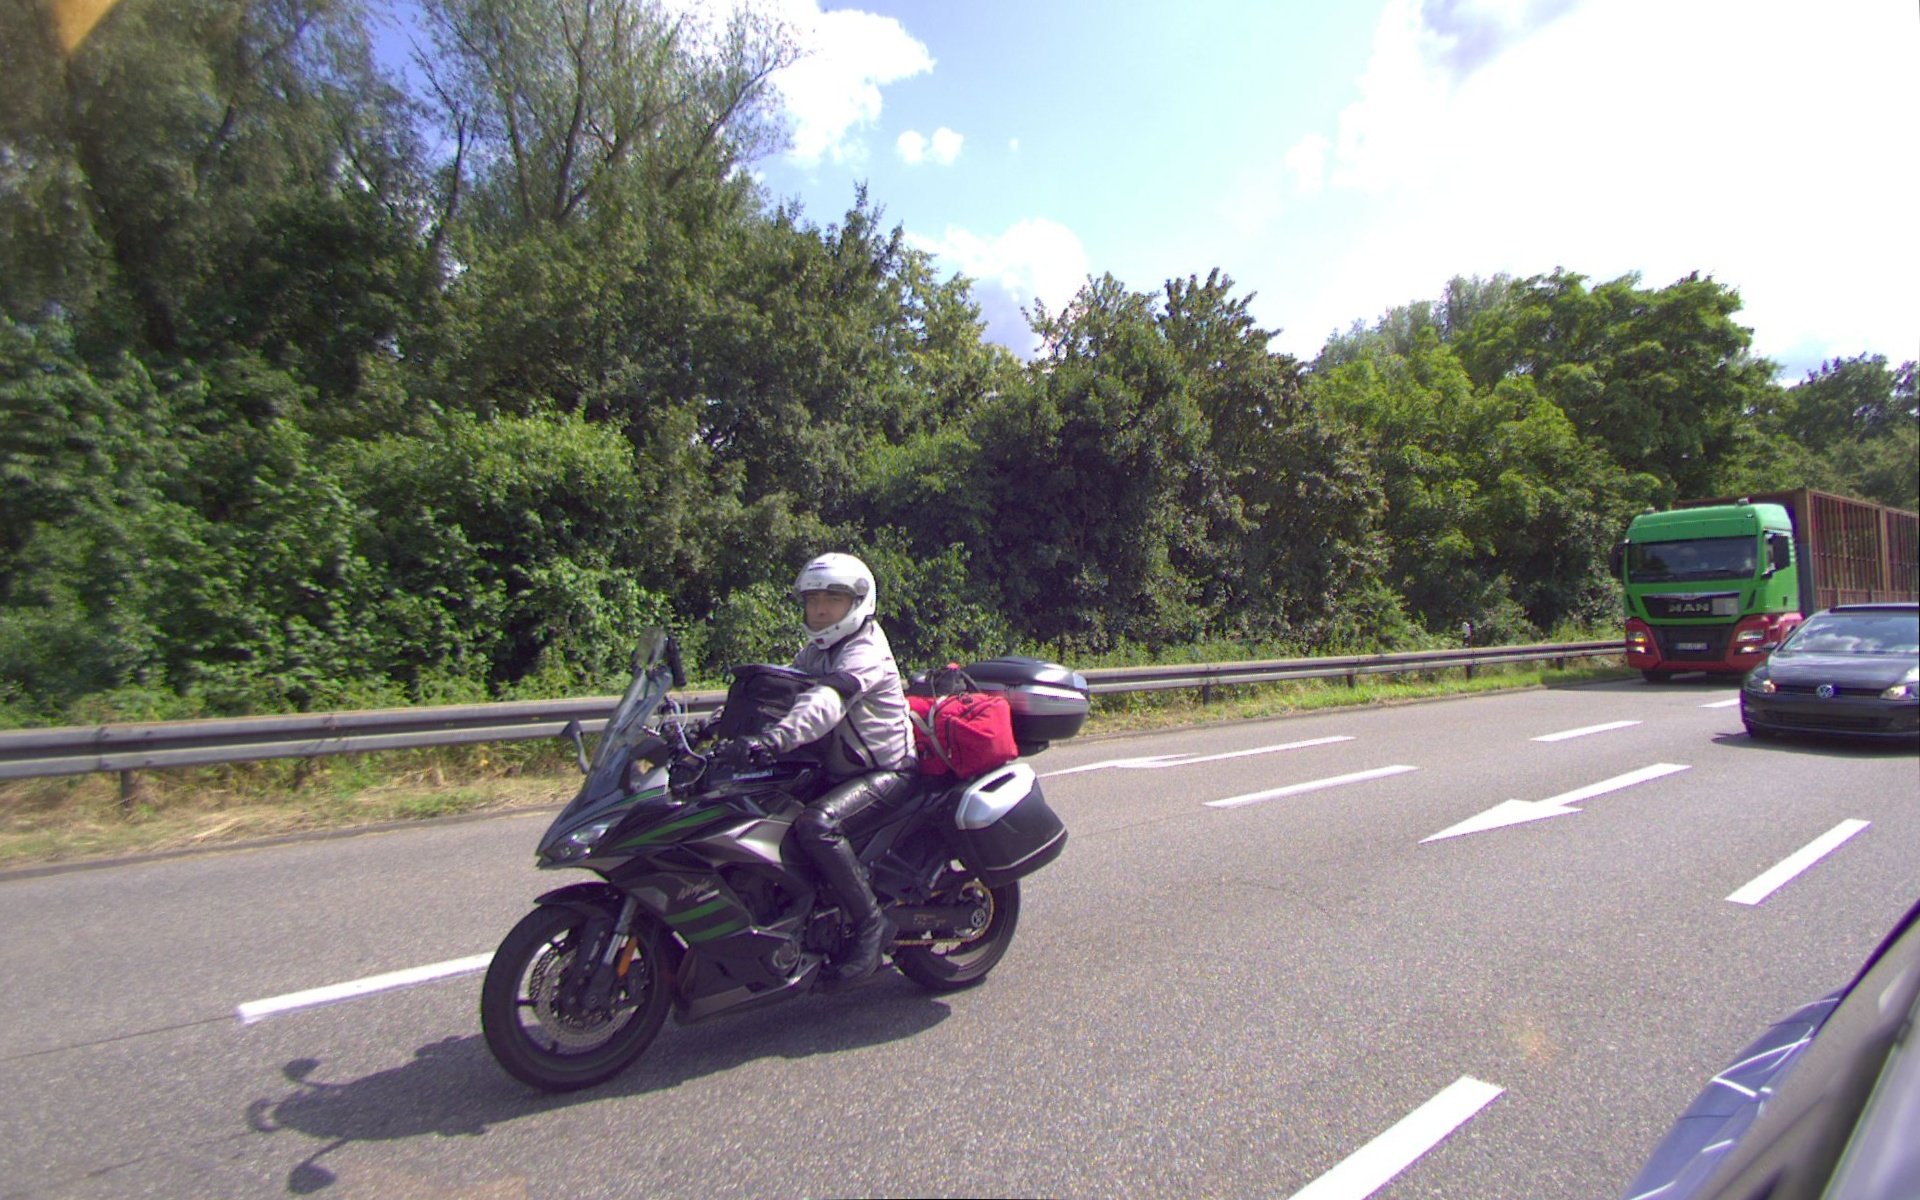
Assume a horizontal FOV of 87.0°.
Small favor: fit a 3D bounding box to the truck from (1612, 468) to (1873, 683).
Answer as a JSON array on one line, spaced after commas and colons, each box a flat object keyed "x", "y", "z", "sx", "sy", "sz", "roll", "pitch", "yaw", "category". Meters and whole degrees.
[{"x": 16.608, "y": -0.410, "z": 21.381, "sx": 5.946, "sy": 3.945, "sz": 2.592, "roll": 0, "pitch": -3, "yaw": -35, "category": "truck"}]

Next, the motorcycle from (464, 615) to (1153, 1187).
[{"x": -0.391, "y": 0.758, "z": 3.608, "sx": 2.328, "sy": 1.407, "sz": 0.867, "roll": 1, "pitch": -1, "yaw": -41, "category": "motorcycle"}]

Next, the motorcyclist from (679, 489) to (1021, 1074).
[{"x": -0.399, "y": 0.537, "z": 3.606, "sx": 0.879, "sy": 1.722, "sz": 0.867, "roll": 1, "pitch": -2, "yaw": -41, "category": "motorcyclist"}]

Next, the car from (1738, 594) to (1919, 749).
[{"x": 10.551, "y": 0.693, "z": 11.386, "sx": 3.970, "sy": 1.495, "sz": 1.736, "roll": 0, "pitch": -1, "yaw": -35, "category": "car"}]

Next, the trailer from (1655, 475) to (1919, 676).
[{"x": 21.783, "y": -0.447, "z": 25.055, "sx": 14.225, "sy": 3.944, "sz": 2.592, "roll": 0, "pitch": -3, "yaw": -35, "category": "trailer"}]
